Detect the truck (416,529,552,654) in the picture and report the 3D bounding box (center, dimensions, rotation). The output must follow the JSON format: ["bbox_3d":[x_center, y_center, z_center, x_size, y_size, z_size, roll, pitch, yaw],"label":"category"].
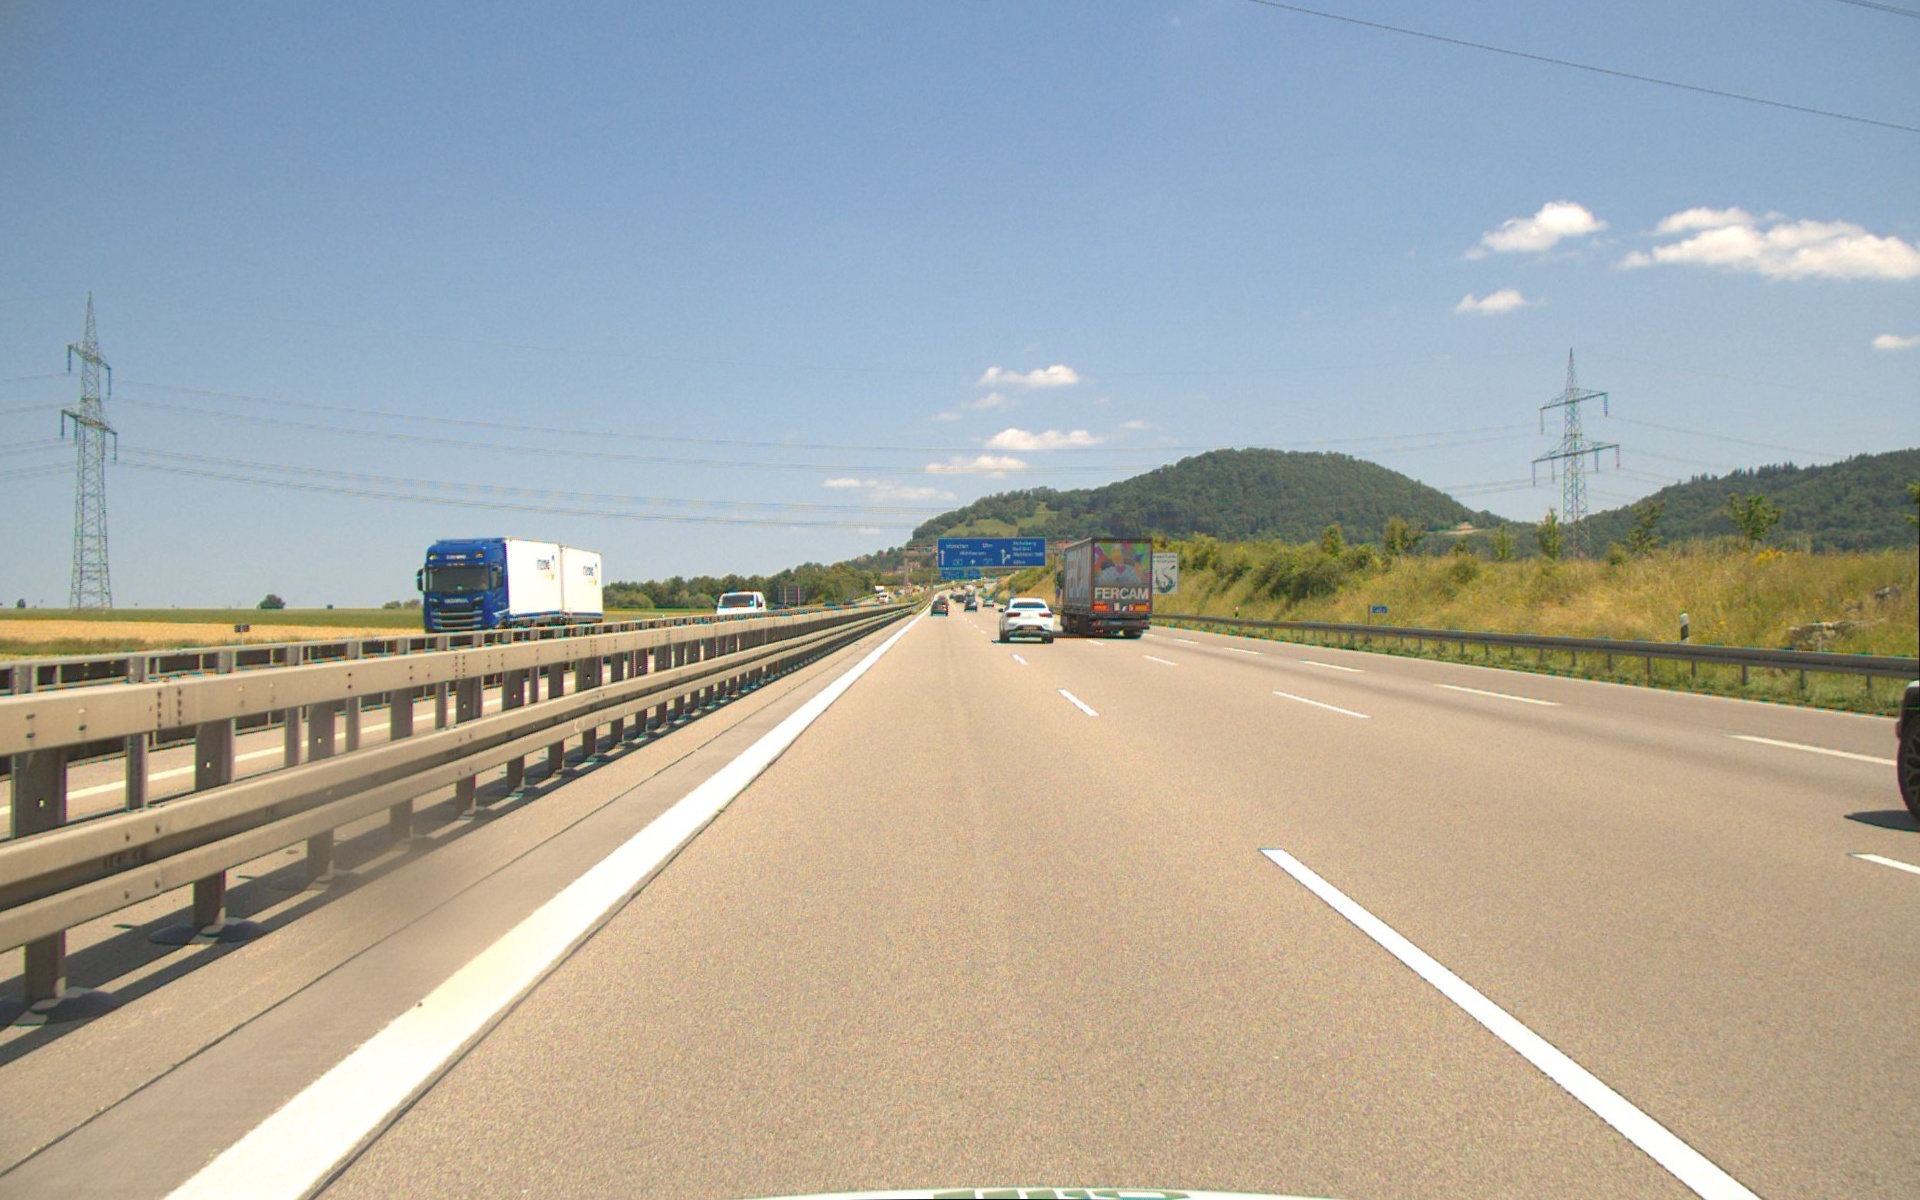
[{"bbox_3d":[-16.909,-0.269,59.260,2.763,4.161,7.529,1,0,-1],"label":"truck"}]

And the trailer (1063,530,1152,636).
[{"bbox_3d":[6.325,-0.630,72.610,2.670,4.228,11.806,1,0,-1],"label":"trailer"}]

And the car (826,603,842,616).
[{"bbox_3d":[-15.499,1.222,204.271,1.637,1.465,4.564,-3,-1,-1],"label":"car"}]

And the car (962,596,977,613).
[{"bbox_3d":[1.199,0.575,210.747,1.953,2.049,4.000,1,0,0],"label":"car"}]

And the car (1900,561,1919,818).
[{"bbox_3d":[7.897,0.652,9.967,1.993,1.836,4.249,0,0,-1],"label":"car"}]

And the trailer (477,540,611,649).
[{"bbox_3d":[-17.089,-0.166,68.873,2.775,4.117,11.663,1,0,-1],"label":"trailer"}]

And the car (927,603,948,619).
[{"bbox_3d":[-2.151,1.058,159.320,1.953,1.413,4.000,1,0,0],"label":"car"}]

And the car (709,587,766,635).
[{"bbox_3d":[-10.173,0.476,75.870,1.944,2.045,4.648,-2,0,-1],"label":"car"}]

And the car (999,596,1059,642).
[{"bbox_3d":[2.478,0.690,60.857,1.875,1.608,5.229,1,0,-1],"label":"car"}]

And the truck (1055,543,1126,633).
[{"bbox_3d":[6.224,-0.525,79.734,2.696,4.091,6.786,1,0,-1],"label":"truck"}]
